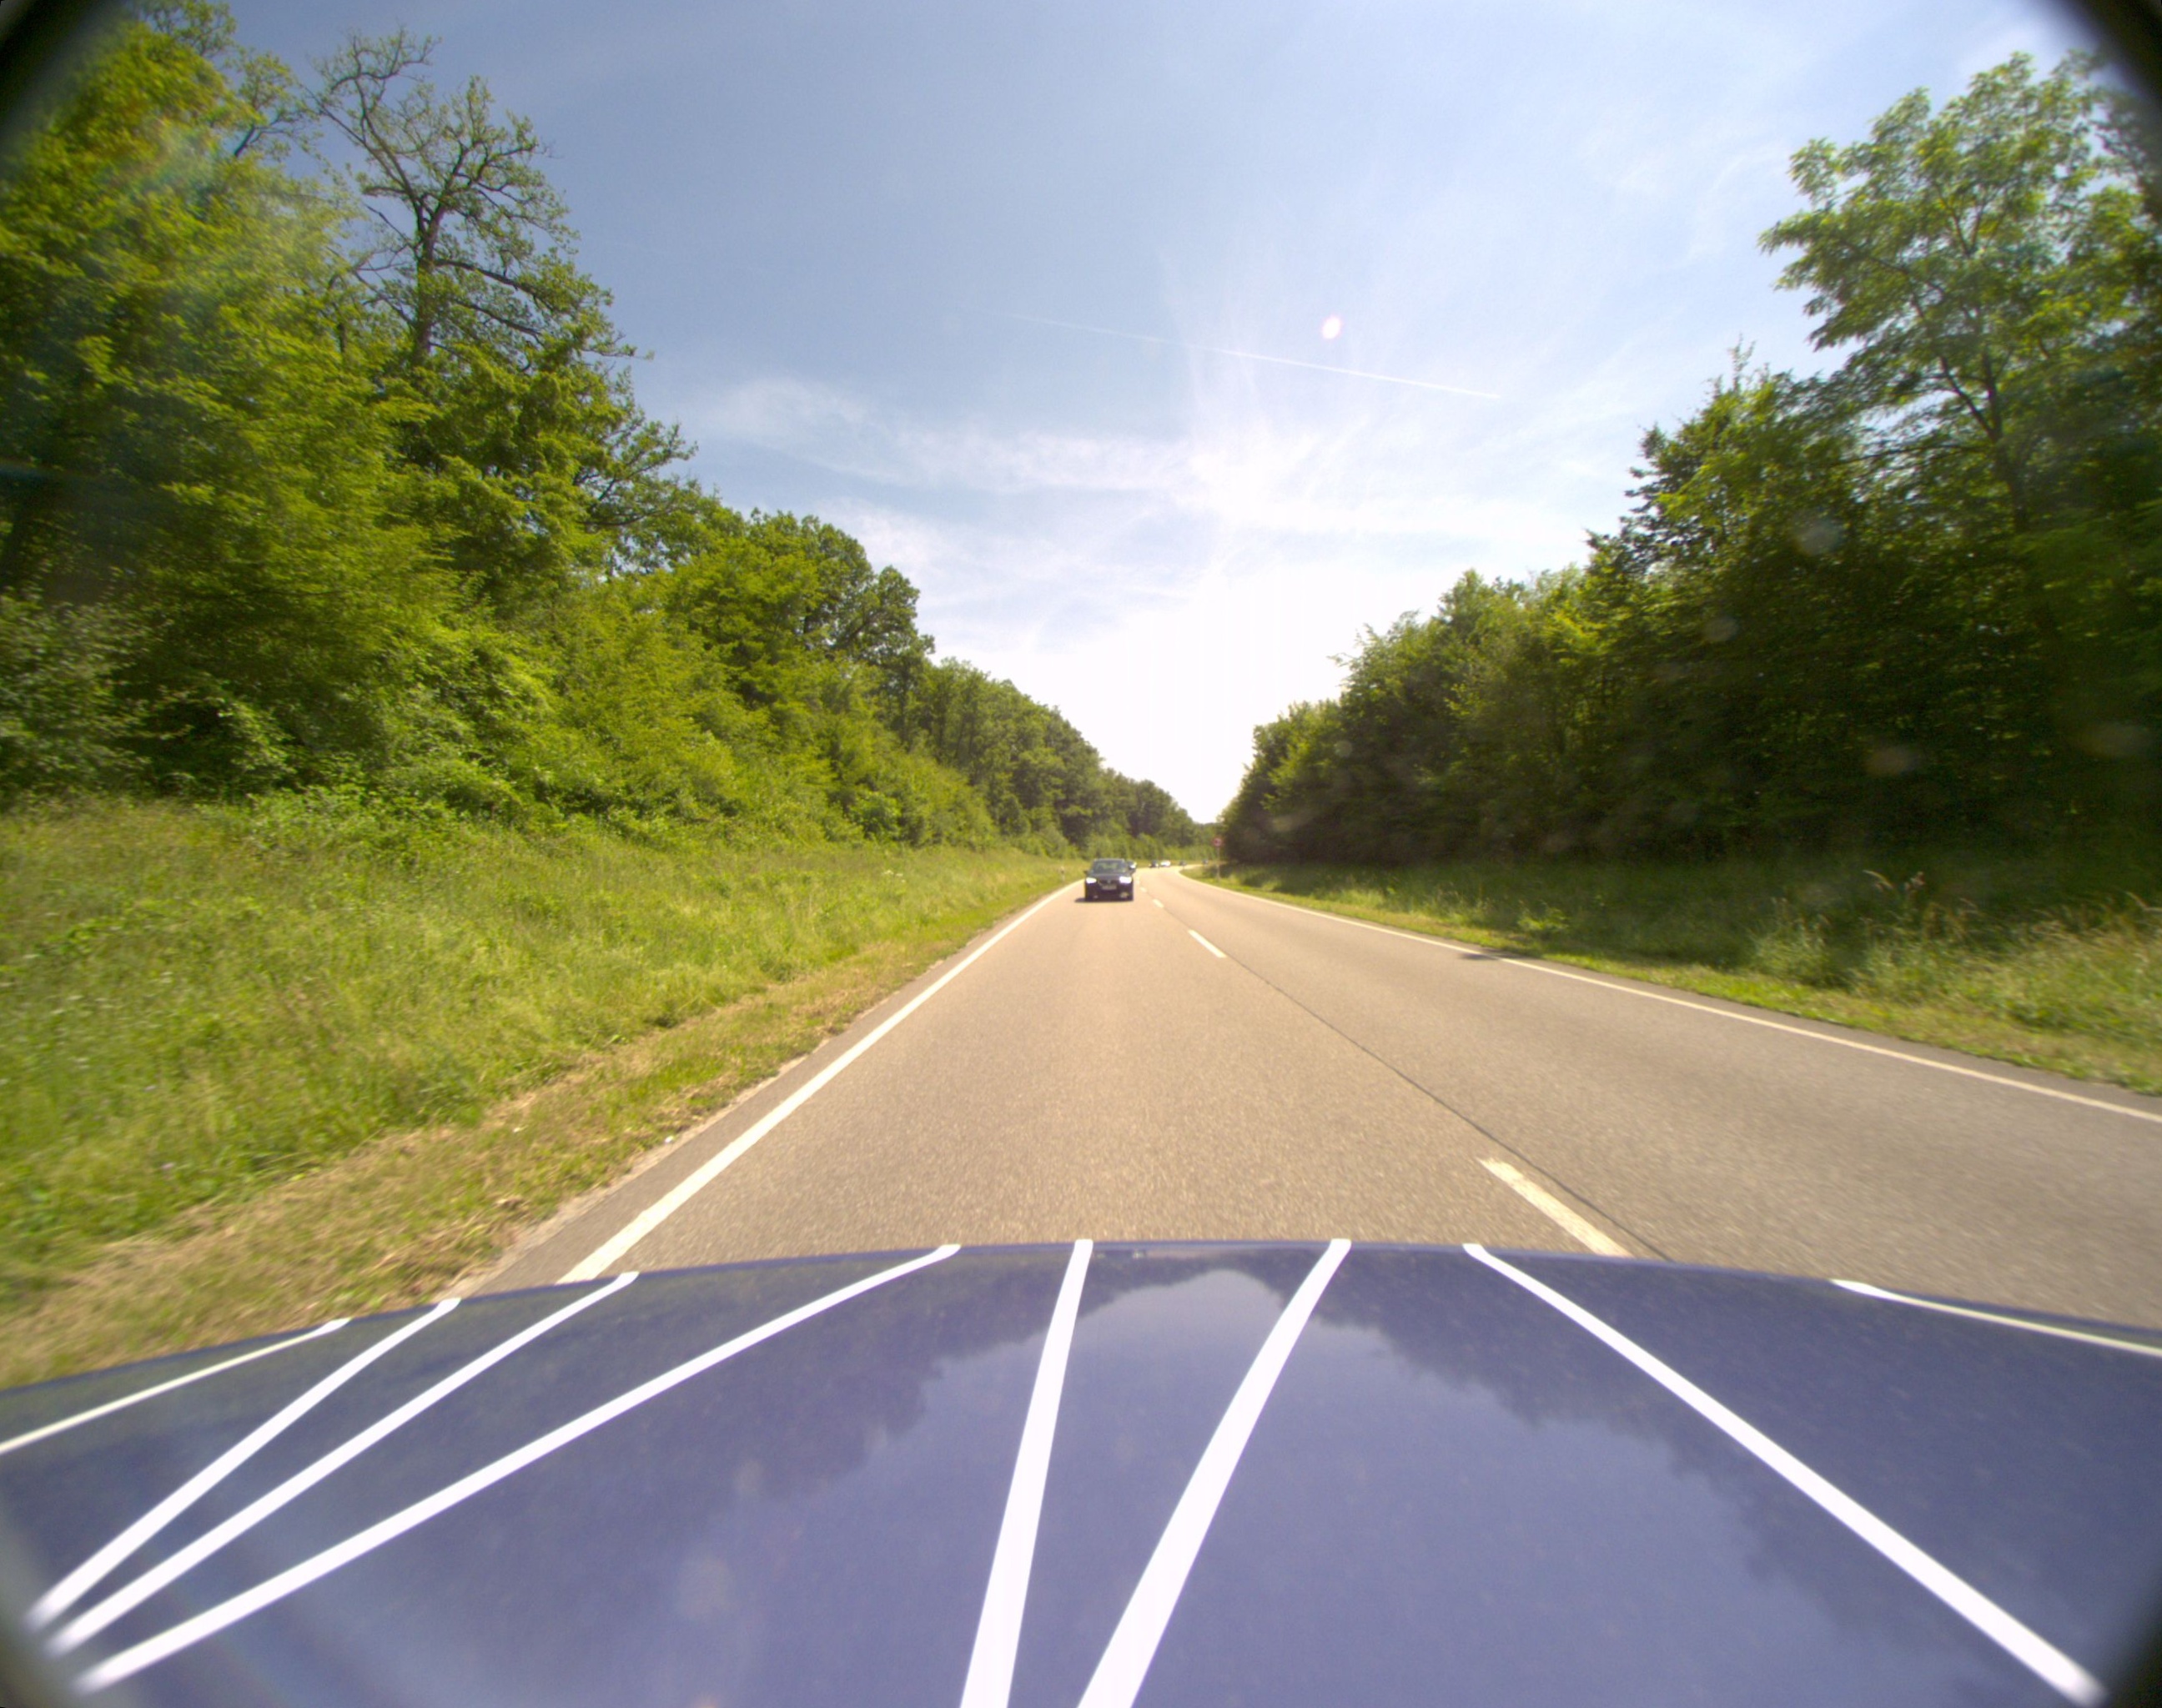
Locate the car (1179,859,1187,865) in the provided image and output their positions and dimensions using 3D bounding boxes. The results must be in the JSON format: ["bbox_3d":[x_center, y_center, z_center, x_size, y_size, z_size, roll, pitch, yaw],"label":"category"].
[{"bbox_3d":[27.859,2.169,208.027,1.691,1.718,4.004,-1,0,13],"label":"car"}]

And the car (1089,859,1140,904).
[{"bbox_3d":[1.201,0.947,28.004,1.713,1.516,4.242,-1,0,2],"label":"car"}]

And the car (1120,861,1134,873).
[{"bbox_3d":[5.887,1.687,96.718,1.775,1.454,3.950,0,0,5],"label":"car"}]

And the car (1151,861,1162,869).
[{"bbox_3d":[14.600,2.134,147.328,1.774,1.454,4.003,0,0,10],"label":"car"}]

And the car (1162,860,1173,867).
[{"bbox_3d":[19.727,2.160,173.378,2.017,1.737,4.385,0,0,12],"label":"car"}]
